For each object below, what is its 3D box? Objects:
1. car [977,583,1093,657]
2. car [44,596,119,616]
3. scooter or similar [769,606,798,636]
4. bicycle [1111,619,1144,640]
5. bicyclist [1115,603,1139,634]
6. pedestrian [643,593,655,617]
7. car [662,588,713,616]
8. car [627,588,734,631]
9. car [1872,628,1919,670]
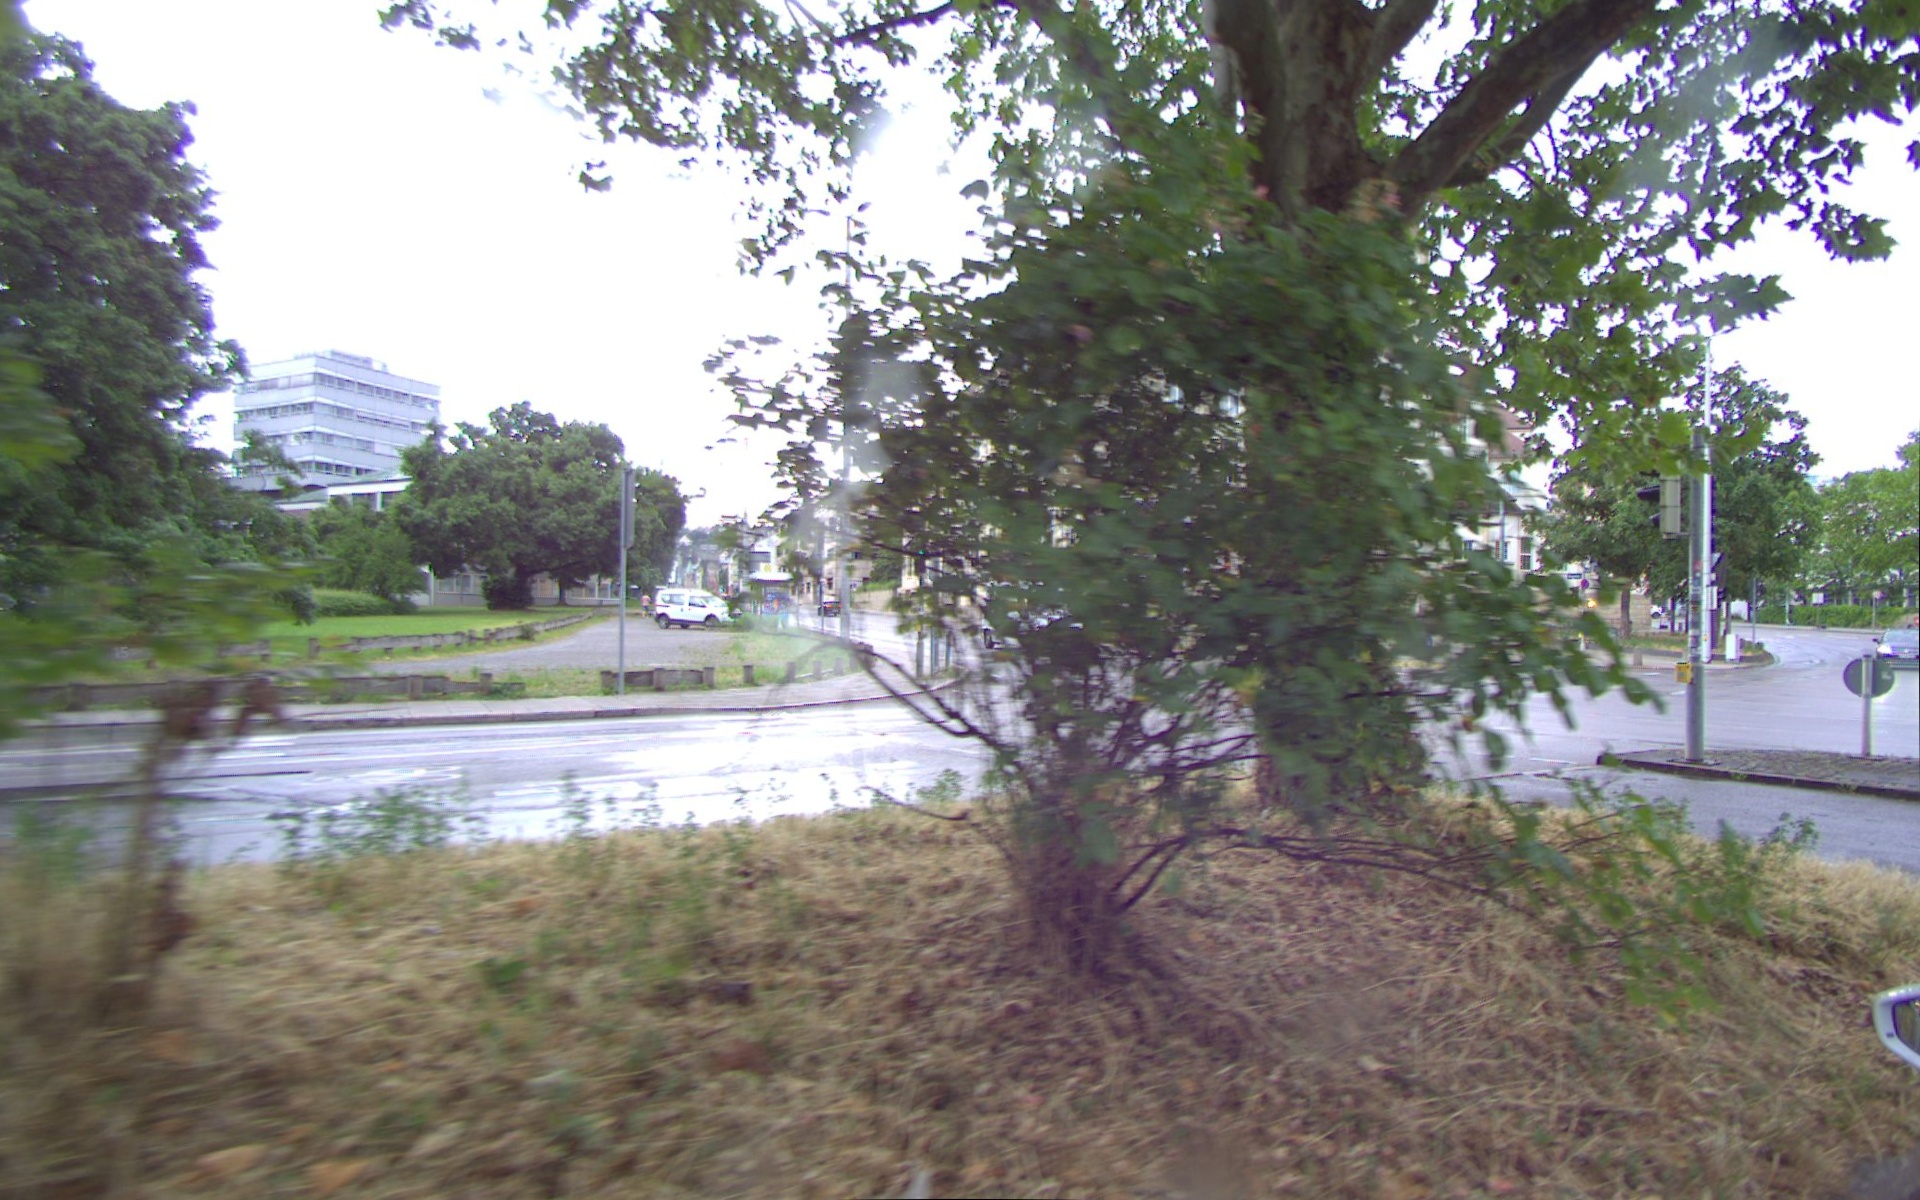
[{"bbox_3d":[2.653,0.694,37.383,2.034,2.527,6.010,0,0,-20],"label":"car"},{"bbox_3d":[-60.833,0.429,69.576,3.500,1.158,1.586,3,0,-18],"label":"car"},{"bbox_3d":[-7.116,0.857,40.508,0.541,1.182,1.253,3,0,20],"label":"scooter or similar"},{"bbox_3d":[9.323,1.640,55.948,0.642,1.070,1.802,2,-1,-36],"label":"bicycle"},{"bbox_3d":[9.309,1.024,56.026,0.696,1.654,1.117,3,0,-37],"label":"bicyclist"},{"bbox_3d":[-20.412,0.347,65.919,0.557,1.548,0.669,3,0,-7],"label":"pedestrian"},{"bbox_3d":[-18.274,0.169,67.226,1.838,1.765,4.029,2,-1,-39],"label":"car"},{"bbox_3d":[-12.468,0.419,44.777,4.420,1.791,1.833,1,-1,24],"label":"car"},{"bbox_3d":[38.691,1.986,41.235,1.847,1.585,4.252,-1,-1,43],"label":"car"}]
